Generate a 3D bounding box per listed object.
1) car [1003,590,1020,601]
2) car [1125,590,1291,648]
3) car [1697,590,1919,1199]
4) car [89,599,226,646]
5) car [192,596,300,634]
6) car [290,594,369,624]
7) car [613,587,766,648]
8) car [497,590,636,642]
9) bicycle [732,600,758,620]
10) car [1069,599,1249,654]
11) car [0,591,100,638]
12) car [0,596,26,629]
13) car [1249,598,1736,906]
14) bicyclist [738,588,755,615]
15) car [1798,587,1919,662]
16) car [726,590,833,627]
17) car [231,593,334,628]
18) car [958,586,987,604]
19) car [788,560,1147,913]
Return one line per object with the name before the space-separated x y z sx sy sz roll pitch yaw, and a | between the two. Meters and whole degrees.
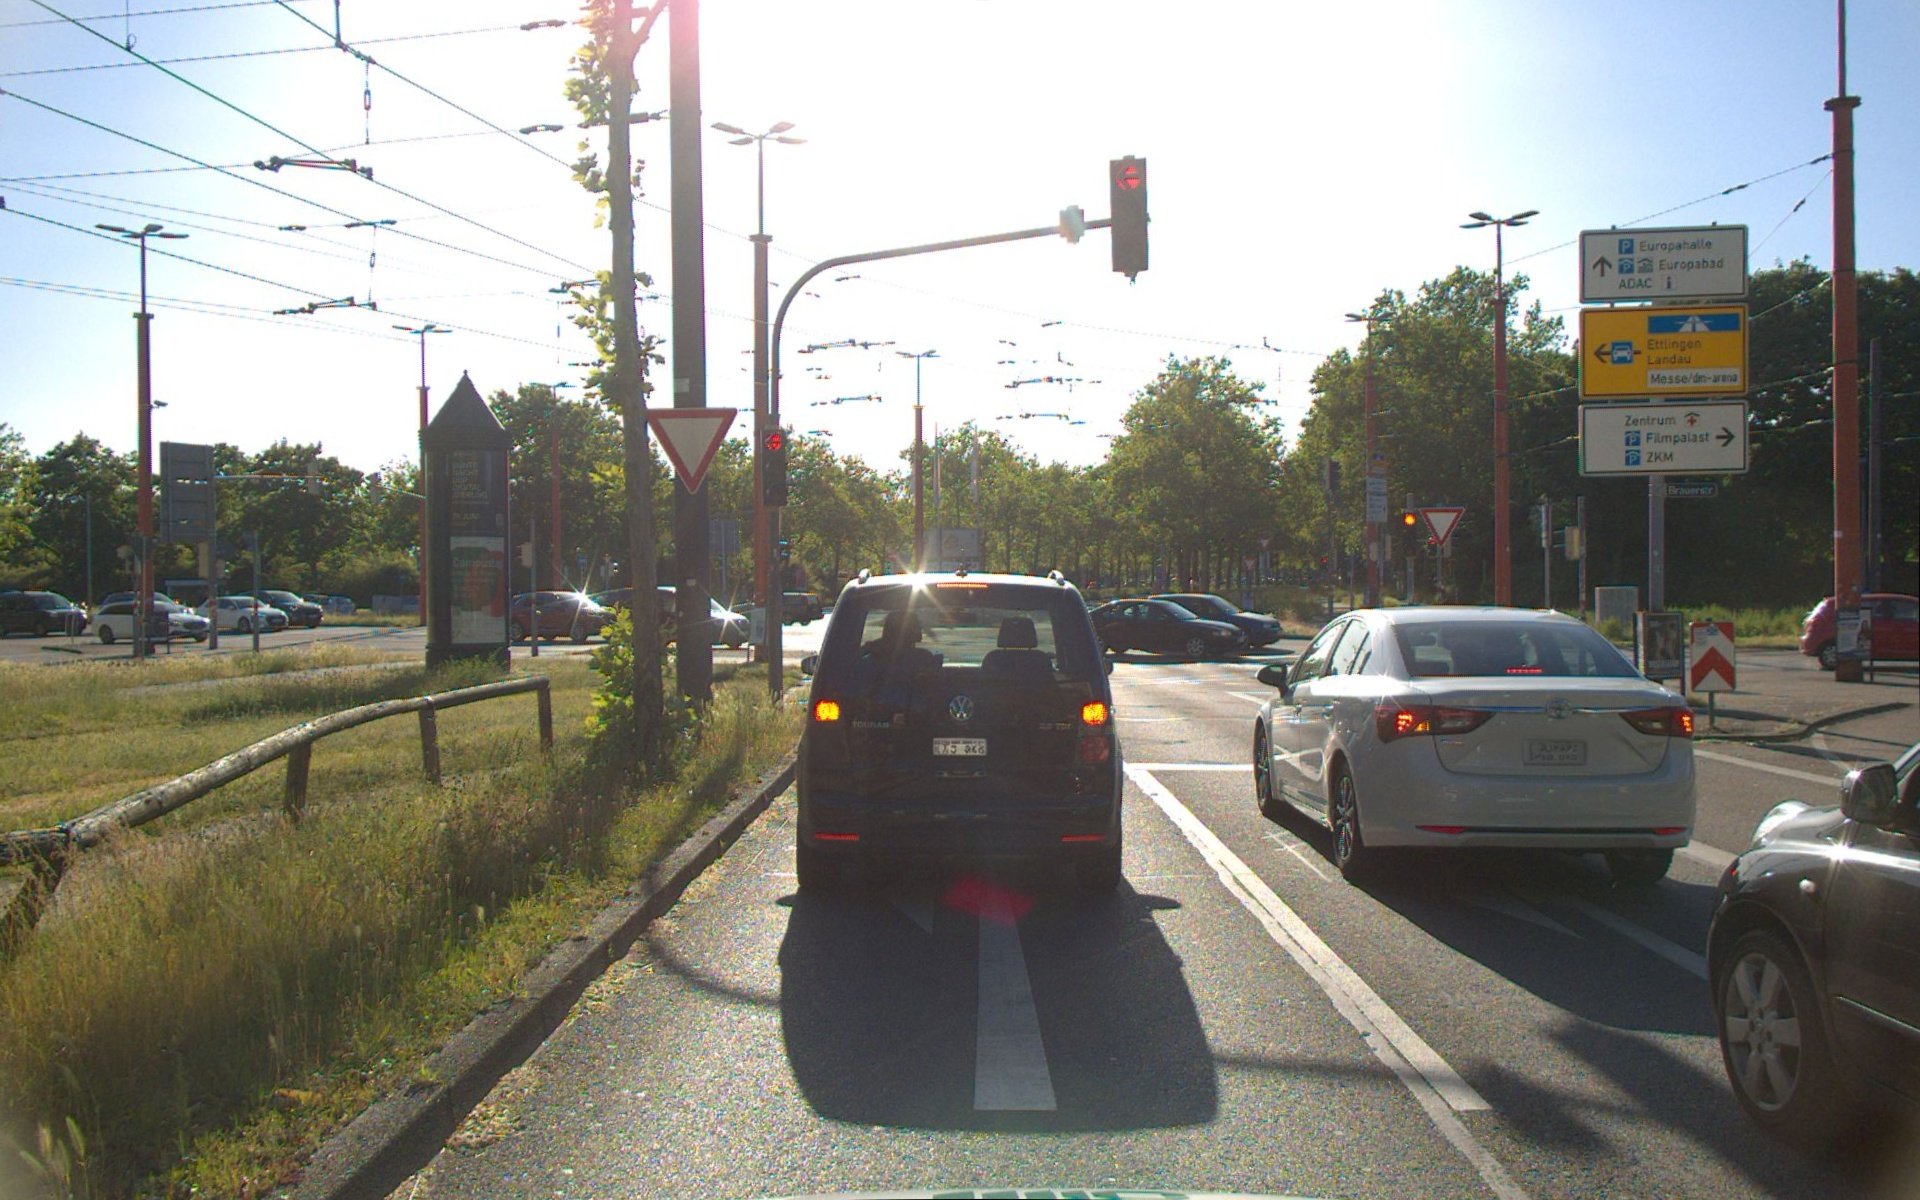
car | 5.950 -0.530 190.574 1.622 1.333 3.818 0 0 6
car | 6.767 0.500 45.236 4.140 1.505 1.751 0 0 29
car | 3.128 0.740 3.508 1.525 1.532 3.515 0 0 -1
car | -28.880 0.784 59.520 4.819 1.602 1.998 0 0 28
car | -29.346 0.600 67.990 4.127 1.489 1.912 0 0 27
car | -34.863 0.491 91.410 3.909 1.608 1.998 0 0 27
car | -8.038 0.499 49.103 4.260 1.762 1.840 0 0 28
car | -13.253 0.519 55.655 4.463 1.697 1.840 0 0 28
bicycle | -12.231 0.562 94.218 0.719 1.109 1.962 0 0 18
car | 5.036 0.648 41.964 4.221 1.350 1.759 0 0 28
car | -38.125 0.587 68.740 4.687 1.868 1.912 0 0 27
car | -45.051 0.577 75.768 4.143 1.489 1.913 0 0 26
car | 2.948 0.737 10.107 1.679 1.480 4.144 0 0 0
bicyclist | -12.200 0.087 94.438 0.678 1.483 0.875 0 0 17
car | 19.515 0.489 34.156 3.909 1.521 1.769 0 0 27
car | -8.089 0.377 74.056 4.365 1.624 1.998 0 0 26
car | -29.266 0.444 71.399 4.127 1.489 1.912 0 0 27
car | 1.224 -0.446 158.844 1.951 1.714 4.833 0 0 10
car | 0.007 0.640 9.863 1.702 1.670 3.999 0 0 -1
